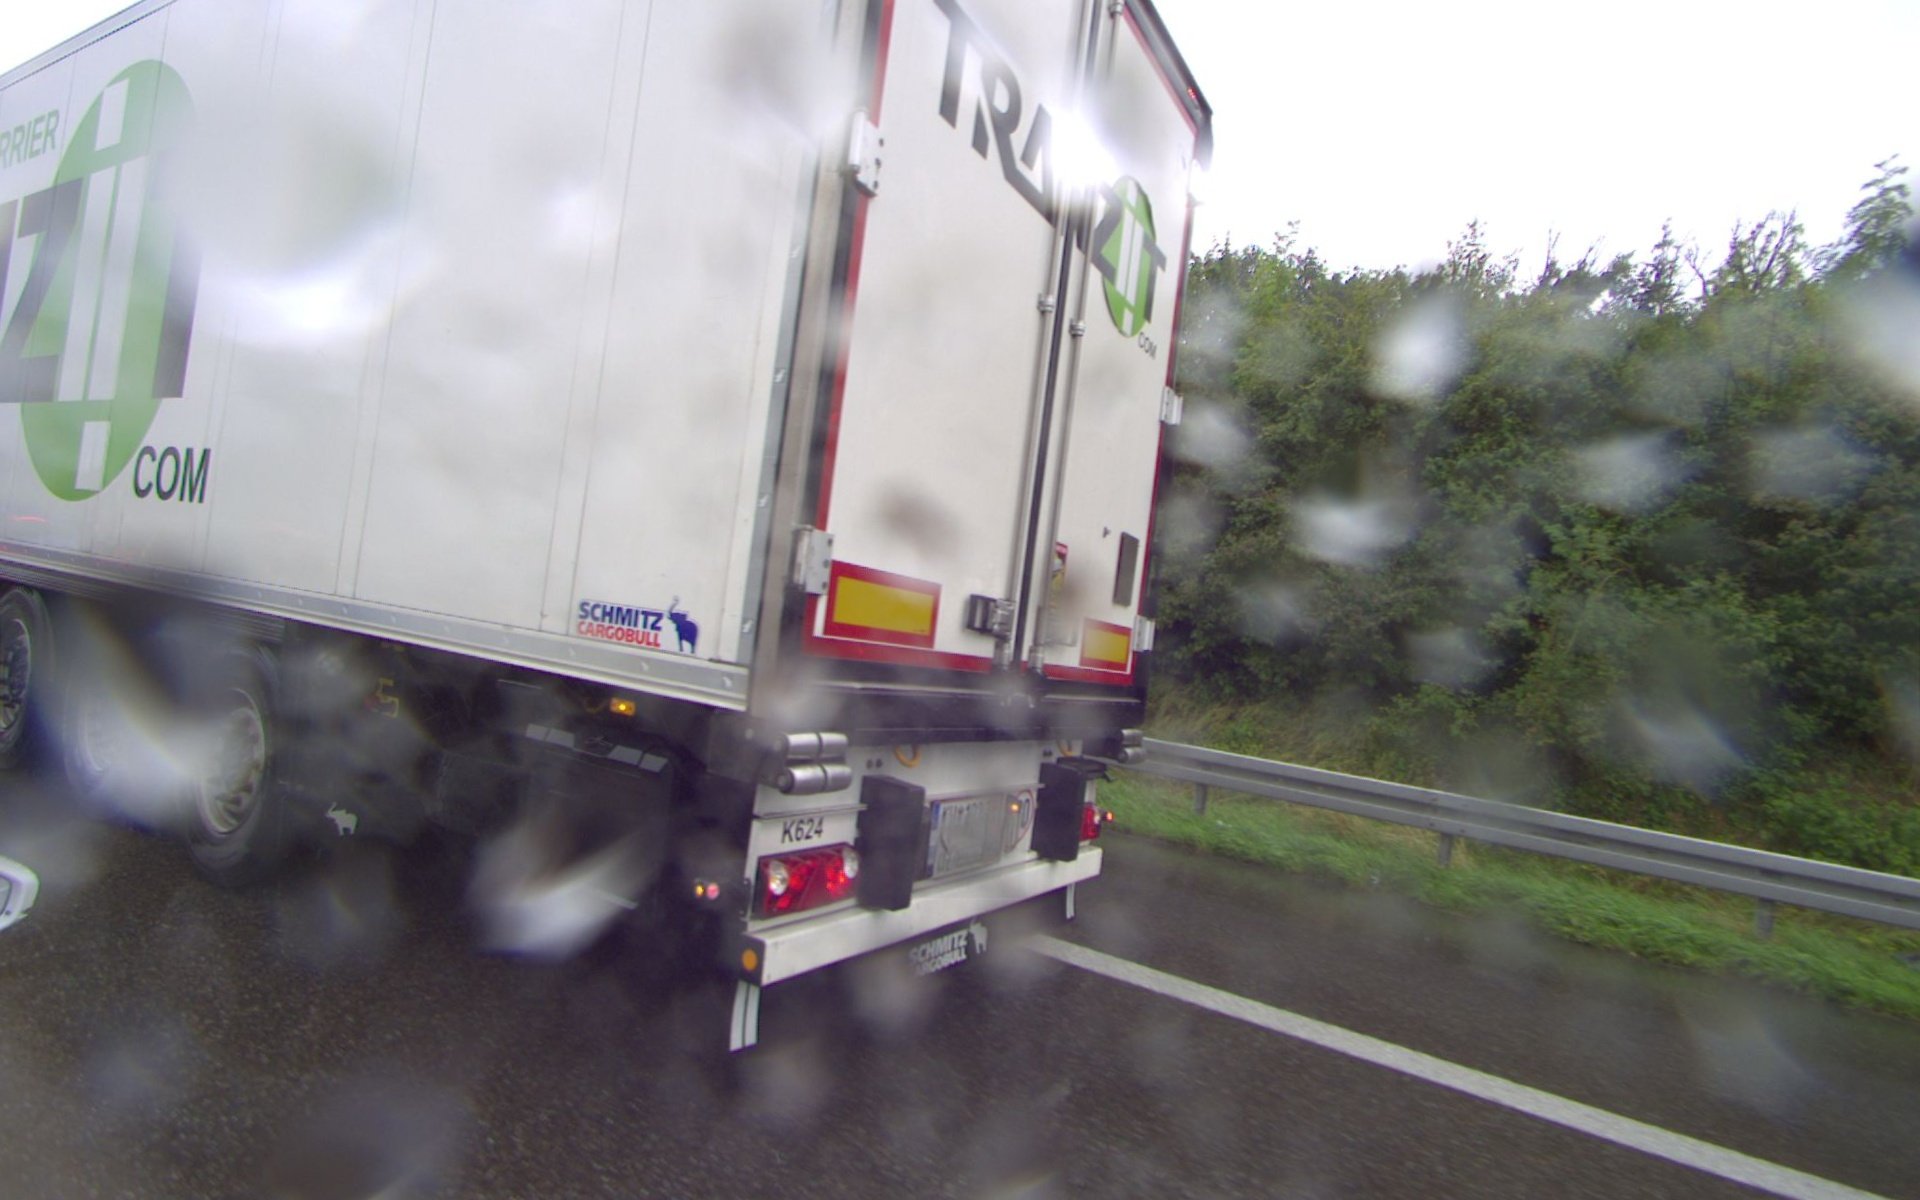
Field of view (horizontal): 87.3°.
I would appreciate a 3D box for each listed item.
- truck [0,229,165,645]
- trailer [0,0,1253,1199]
[{"bbox_3d":[-11.260,-1.815,10.704,4.712,3.873,2.635,7,-1,32],"label":"truck"},{"bbox_3d":[-5.677,-1.212,7.179,14.387,4.061,2.634,7,-1,32],"label":"trailer"}]
